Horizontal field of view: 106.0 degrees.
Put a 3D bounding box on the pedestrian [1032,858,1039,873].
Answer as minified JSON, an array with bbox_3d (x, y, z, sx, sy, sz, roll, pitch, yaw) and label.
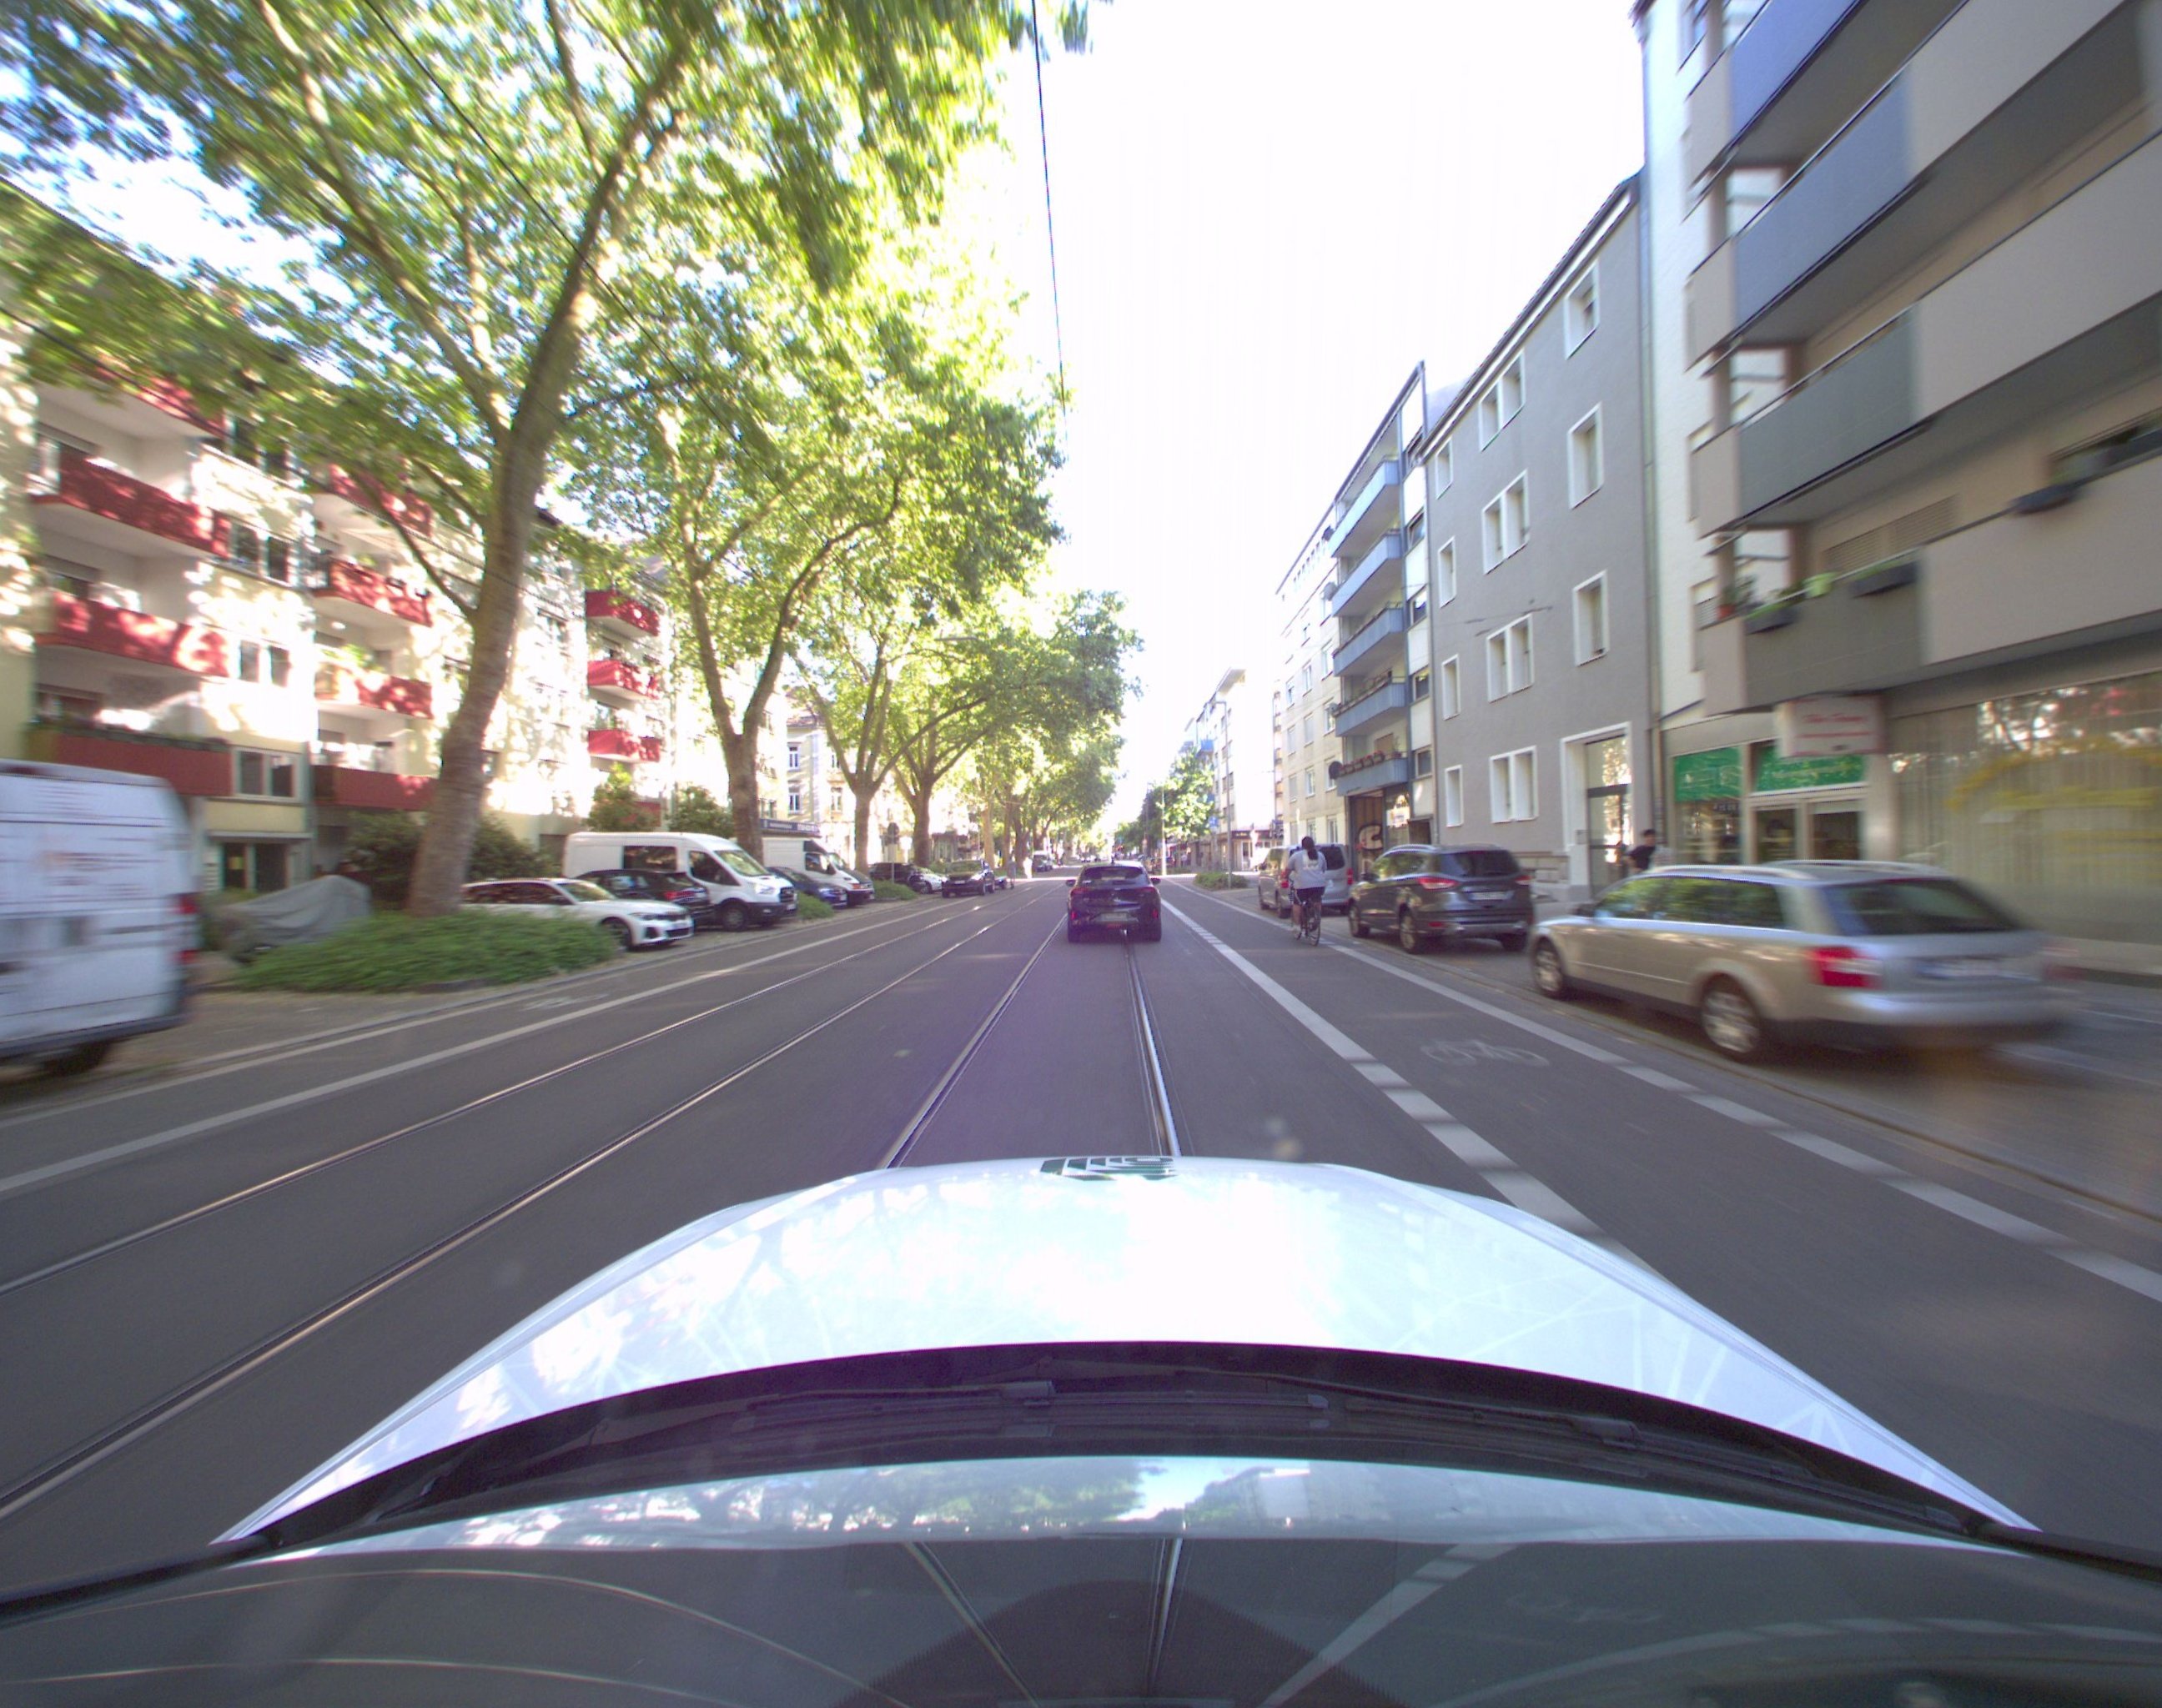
[{"bbox_3d":[-4.974,1.254,89.481,0.681,1.583,0.557,-2,-1,0],"label":"pedestrian"}]

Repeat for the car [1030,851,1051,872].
[{"bbox_3d":[-5.176,0.894,104.991,2.084,2.584,5.999,-2,0,2],"label":"car"}]

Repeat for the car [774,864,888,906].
[{"bbox_3d":[-9.743,1.179,31.978,3.841,1.478,1.860,-2,0,0],"label":"car"}]

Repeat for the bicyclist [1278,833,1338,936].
[{"bbox_3d":[4.015,0.526,14.479,0.784,1.759,0.915,-1,-1,1],"label":"bicyclist"}]

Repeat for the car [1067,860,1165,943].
[{"bbox_3d":[0.649,0.823,15.792,1.673,1.422,3.628,0,0,1],"label":"car"}]

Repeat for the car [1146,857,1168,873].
[{"bbox_3d":[7.217,1.014,77.670,1.712,1.490,3.681,-2,0,0],"label":"car"}]

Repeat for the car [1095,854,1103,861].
[{"bbox_3d":[4.338,0.857,198.122,1.742,1.651,4.004,-2,0,3],"label":"car"}]

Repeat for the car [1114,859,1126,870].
[{"bbox_3d":[6.156,1.598,129.288,1.850,1.651,4.004,-2,0,3],"label":"car"}]

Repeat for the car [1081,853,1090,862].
[{"bbox_3d":[1.044,0.789,200.189,1.988,2.211,5.098,-2,0,-2],"label":"car"}]

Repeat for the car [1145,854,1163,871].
[{"bbox_3d":[7.330,0.850,81.640,1.644,1.574,3.086,-2,0,4],"label":"car"}]

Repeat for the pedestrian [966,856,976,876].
[{"bbox_3d":[-10.593,1.189,78.588,0.903,1.869,0.643,-2,-1,-4],"label":"pedestrian"}]

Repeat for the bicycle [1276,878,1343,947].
[{"bbox_3d":[4.020,0.999,14.469,0.698,1.092,1.990,0,-1,1],"label":"bicycle"}]

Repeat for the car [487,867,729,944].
[{"bbox_3d":[-10.588,1.118,18.469,4.354,1.539,1.873,-1,0,1],"label":"car"}]

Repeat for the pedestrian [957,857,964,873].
[{"bbox_3d":[-13.365,1.221,90.221,0.549,1.652,0.650,-2,0,5],"label":"pedestrian"}]

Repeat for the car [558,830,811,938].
[{"bbox_3d":[-9.912,0.730,20.656,5.340,2.477,2.058,-2,0,2],"label":"car"}]

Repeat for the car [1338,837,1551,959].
[{"bbox_3d":[5.914,0.639,13.888,1.760,1.705,4.284,-2,0,1],"label":"car"}]

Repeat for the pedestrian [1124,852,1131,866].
[{"bbox_3d":[6.988,0.729,122.799,0.853,2.013,1.070,-6,-1,2],"label":"pedestrian"}]

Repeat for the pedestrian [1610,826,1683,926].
[{"bbox_3d":[10.074,0.379,14.526,0.753,1.720,0.720,-2,0,0],"label":"pedestrian"}]

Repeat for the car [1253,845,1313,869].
[{"bbox_3d":[16.445,0.251,66.543,4.347,1.831,1.998,-2,0,-2],"label":"car"}]

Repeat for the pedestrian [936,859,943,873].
[{"bbox_3d":[-14.441,1.225,83.038,0.549,1.403,0.650,-2,0,5],"label":"pedestrian"}]

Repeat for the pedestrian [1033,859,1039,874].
[{"bbox_3d":[-4.882,1.358,88.722,0.505,1.583,0.527,-2,-1,1],"label":"pedestrian"}]

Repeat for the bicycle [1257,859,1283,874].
[{"bbox_3d":[14.705,0.966,63.311,1.827,1.117,0.704,-2,0,4],"label":"bicycle"}]

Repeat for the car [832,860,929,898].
[{"bbox_3d":[-9.271,1.135,37.879,3.973,1.647,1.894,-1,0,0],"label":"car"}]

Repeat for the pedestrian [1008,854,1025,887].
[{"bbox_3d":[-3.407,0.866,43.043,0.712,1.735,0.909,-3,0,-12],"label":"pedestrian"}]

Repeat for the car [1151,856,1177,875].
[{"bbox_3d":[7.345,0.973,72.216,1.714,1.574,4.081,-2,0,-2],"label":"car"}]

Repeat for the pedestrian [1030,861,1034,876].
[{"bbox_3d":[-5.371,1.589,88.809,0.345,1.583,0.508,-2,-1,0],"label":"pedestrian"}]

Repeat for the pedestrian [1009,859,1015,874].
[{"bbox_3d":[-7.523,1.373,88.997,0.508,1.583,0.524,-1,-1,-16],"label":"pedestrian"}]

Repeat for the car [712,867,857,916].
[{"bbox_3d":[-9.684,1.200,26.783,4.003,1.466,1.873,-1,0,2],"label":"car"}]

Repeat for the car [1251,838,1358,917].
[{"bbox_3d":[6.043,0.589,22.637,1.850,1.890,4.929,-2,0,3],"label":"car"}]

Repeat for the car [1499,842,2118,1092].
[{"bbox_3d":[5.693,0.717,7.350,1.717,1.525,4.517,-2,0,3],"label":"car"}]

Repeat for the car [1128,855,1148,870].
[{"bbox_3d":[6.746,1.009,96.626,1.988,1.640,3.997,-2,0,-2],"label":"car"}]

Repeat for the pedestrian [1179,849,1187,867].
[{"bbox_3d":[10.321,0.426,82.436,0.763,1.748,0.797,-2,-1,9],"label":"pedestrian"}]

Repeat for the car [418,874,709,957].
[{"bbox_3d":[-9.895,1.141,15.844,4.393,1.384,1.934,-1,0,1],"label":"car"}]

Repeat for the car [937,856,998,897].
[{"bbox_3d":[-5.238,1.017,38.130,1.986,1.700,4.486,-3,0,2],"label":"car"}]

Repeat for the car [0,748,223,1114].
[{"bbox_3d":[-10.339,0.573,6.033,5.719,2.536,2.163,-1,0,2],"label":"car"}]

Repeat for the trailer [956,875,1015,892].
[{"bbox_3d":[-4.998,1.564,43.577,2.152,0.632,6.402,-1,0,2],"label":"trailer"}]

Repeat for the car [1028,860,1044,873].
[{"bbox_3d":[-5.407,1.504,98.896,1.749,1.508,3.997,-2,0,-2],"label":"car"}]

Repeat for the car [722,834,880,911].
[{"bbox_3d":[-10.022,0.652,29.439,4.930,2.567,2.081,-2,0,-2],"label":"car"}]

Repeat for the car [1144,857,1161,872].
[{"bbox_3d":[7.494,1.095,85.638,1.711,1.574,3.685,-2,0,4],"label":"car"}]

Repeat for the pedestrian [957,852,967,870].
[{"bbox_3d":[-11.354,0.662,77.795,0.845,1.632,0.643,-2,-1,-4],"label":"pedestrian"}]

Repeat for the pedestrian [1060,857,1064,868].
[{"bbox_3d":[-3.000,1.333,127.648,0.594,1.590,0.891,-2,0,-5],"label":"pedestrian"}]

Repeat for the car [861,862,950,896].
[{"bbox_3d":[-8.698,1.238,40.554,3.973,1.522,1.771,-1,0,0],"label":"car"}]

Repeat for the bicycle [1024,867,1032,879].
[{"bbox_3d":[-4.375,1.548,67.632,0.518,0.962,1.929,-2,0,0],"label":"bicycle"}]

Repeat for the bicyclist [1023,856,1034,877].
[{"bbox_3d":[-4.364,1.050,67.586,0.782,1.678,0.957,-2,0,-1],"label":"bicyclist"}]
